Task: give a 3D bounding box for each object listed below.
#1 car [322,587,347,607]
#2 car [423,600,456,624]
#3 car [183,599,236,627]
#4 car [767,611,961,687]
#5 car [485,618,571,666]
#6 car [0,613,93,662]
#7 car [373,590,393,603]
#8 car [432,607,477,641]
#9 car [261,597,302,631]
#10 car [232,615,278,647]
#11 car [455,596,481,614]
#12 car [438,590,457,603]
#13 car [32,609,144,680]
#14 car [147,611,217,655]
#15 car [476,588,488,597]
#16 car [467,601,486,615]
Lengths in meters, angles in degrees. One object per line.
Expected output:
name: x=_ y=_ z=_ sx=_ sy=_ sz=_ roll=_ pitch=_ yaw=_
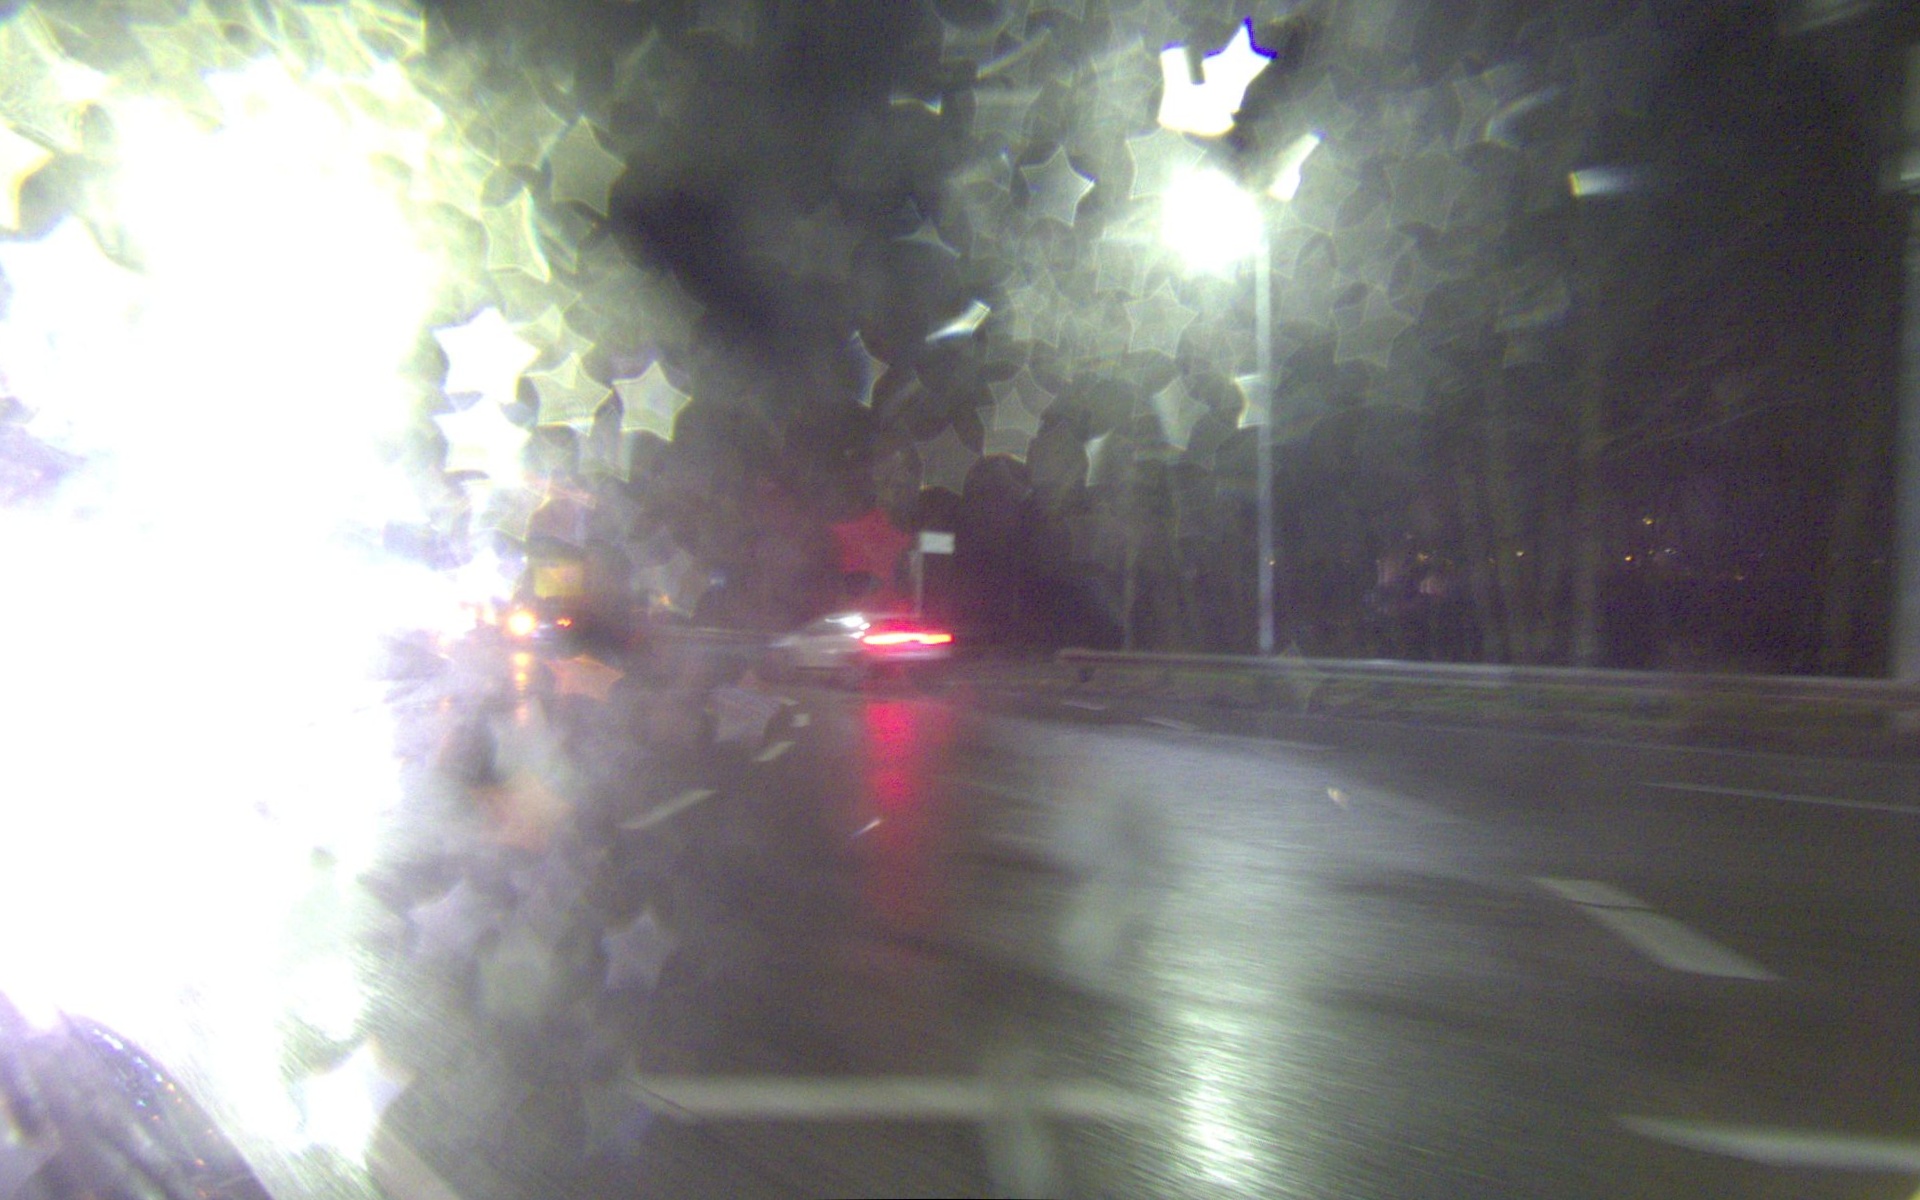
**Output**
car: x=-66.494 y=-0.307 z=107.635 sx=1.842 sy=2.029 sz=3.917 roll=-1 pitch=1 yaw=-25
car: x=-34.637 y=0.825 z=67.386 sx=1.764 sy=1.468 sz=4.592 roll=2 pitch=-2 yaw=-25
car: x=-47.169 y=0.771 z=63.708 sx=1.965 sy=1.610 sz=4.406 roll=1 pitch=1 yaw=-27
car: x=-2.013 y=0.967 z=20.283 sx=1.784 sy=1.363 sz=4.148 roll=4 pitch=-4 yaw=-41
car: x=-14.569 y=1.358 z=33.992 sx=1.756 sy=1.471 sz=4.488 roll=0 pitch=-1 yaw=-35
car: x=-32.137 y=1.268 z=35.429 sx=1.714 sy=1.428 sz=4.154 roll=-1 pitch=1 yaw=-26
car: x=-79.377 y=-0.461 z=139.266 sx=1.965 sy=1.691 sz=4.014 roll=-1 pitch=1 yaw=-24
car: x=-22.349 y=1.047 z=44.693 sx=1.543 sy=1.444 sz=3.505 roll=0 pitch=-1 yaw=-31
car: x=-43.039 y=0.845 z=64.260 sx=1.966 sy=2.029 sz=4.012 roll=-1 pitch=2 yaw=-32
car: x=-36.985 y=1.595 z=53.160 sx=1.580 sy=1.436 sz=3.400 roll=-3 pitch=3 yaw=-29
car: x=-44.946 y=0.437 z=92.518 sx=1.710 sy=1.507 sz=3.954 roll=3 pitch=-1 yaw=-21
car: x=-66.790 y=-0.453 z=131.955 sx=1.822 sy=1.583 sz=3.519 roll=0 pitch=-1 yaw=-21
car: x=-21.124 y=1.025 z=24.631 sx=1.580 sy=1.436 sz=3.399 roll=-3 pitch=3 yaw=-33
car: x=-30.038 y=1.226 z=39.164 sx=1.580 sy=1.436 sz=3.400 roll=-3 pitch=3 yaw=-29
car: x=-78.151 y=-1.250 z=165.413 sx=1.687 sy=1.434 sz=4.683 roll=3 pitch=-1 yaw=-26
car: x=-58.871 y=0.954 z=123.364 sx=1.749 sy=1.605 sz=4.575 roll=1 pitch=0 yaw=-21
